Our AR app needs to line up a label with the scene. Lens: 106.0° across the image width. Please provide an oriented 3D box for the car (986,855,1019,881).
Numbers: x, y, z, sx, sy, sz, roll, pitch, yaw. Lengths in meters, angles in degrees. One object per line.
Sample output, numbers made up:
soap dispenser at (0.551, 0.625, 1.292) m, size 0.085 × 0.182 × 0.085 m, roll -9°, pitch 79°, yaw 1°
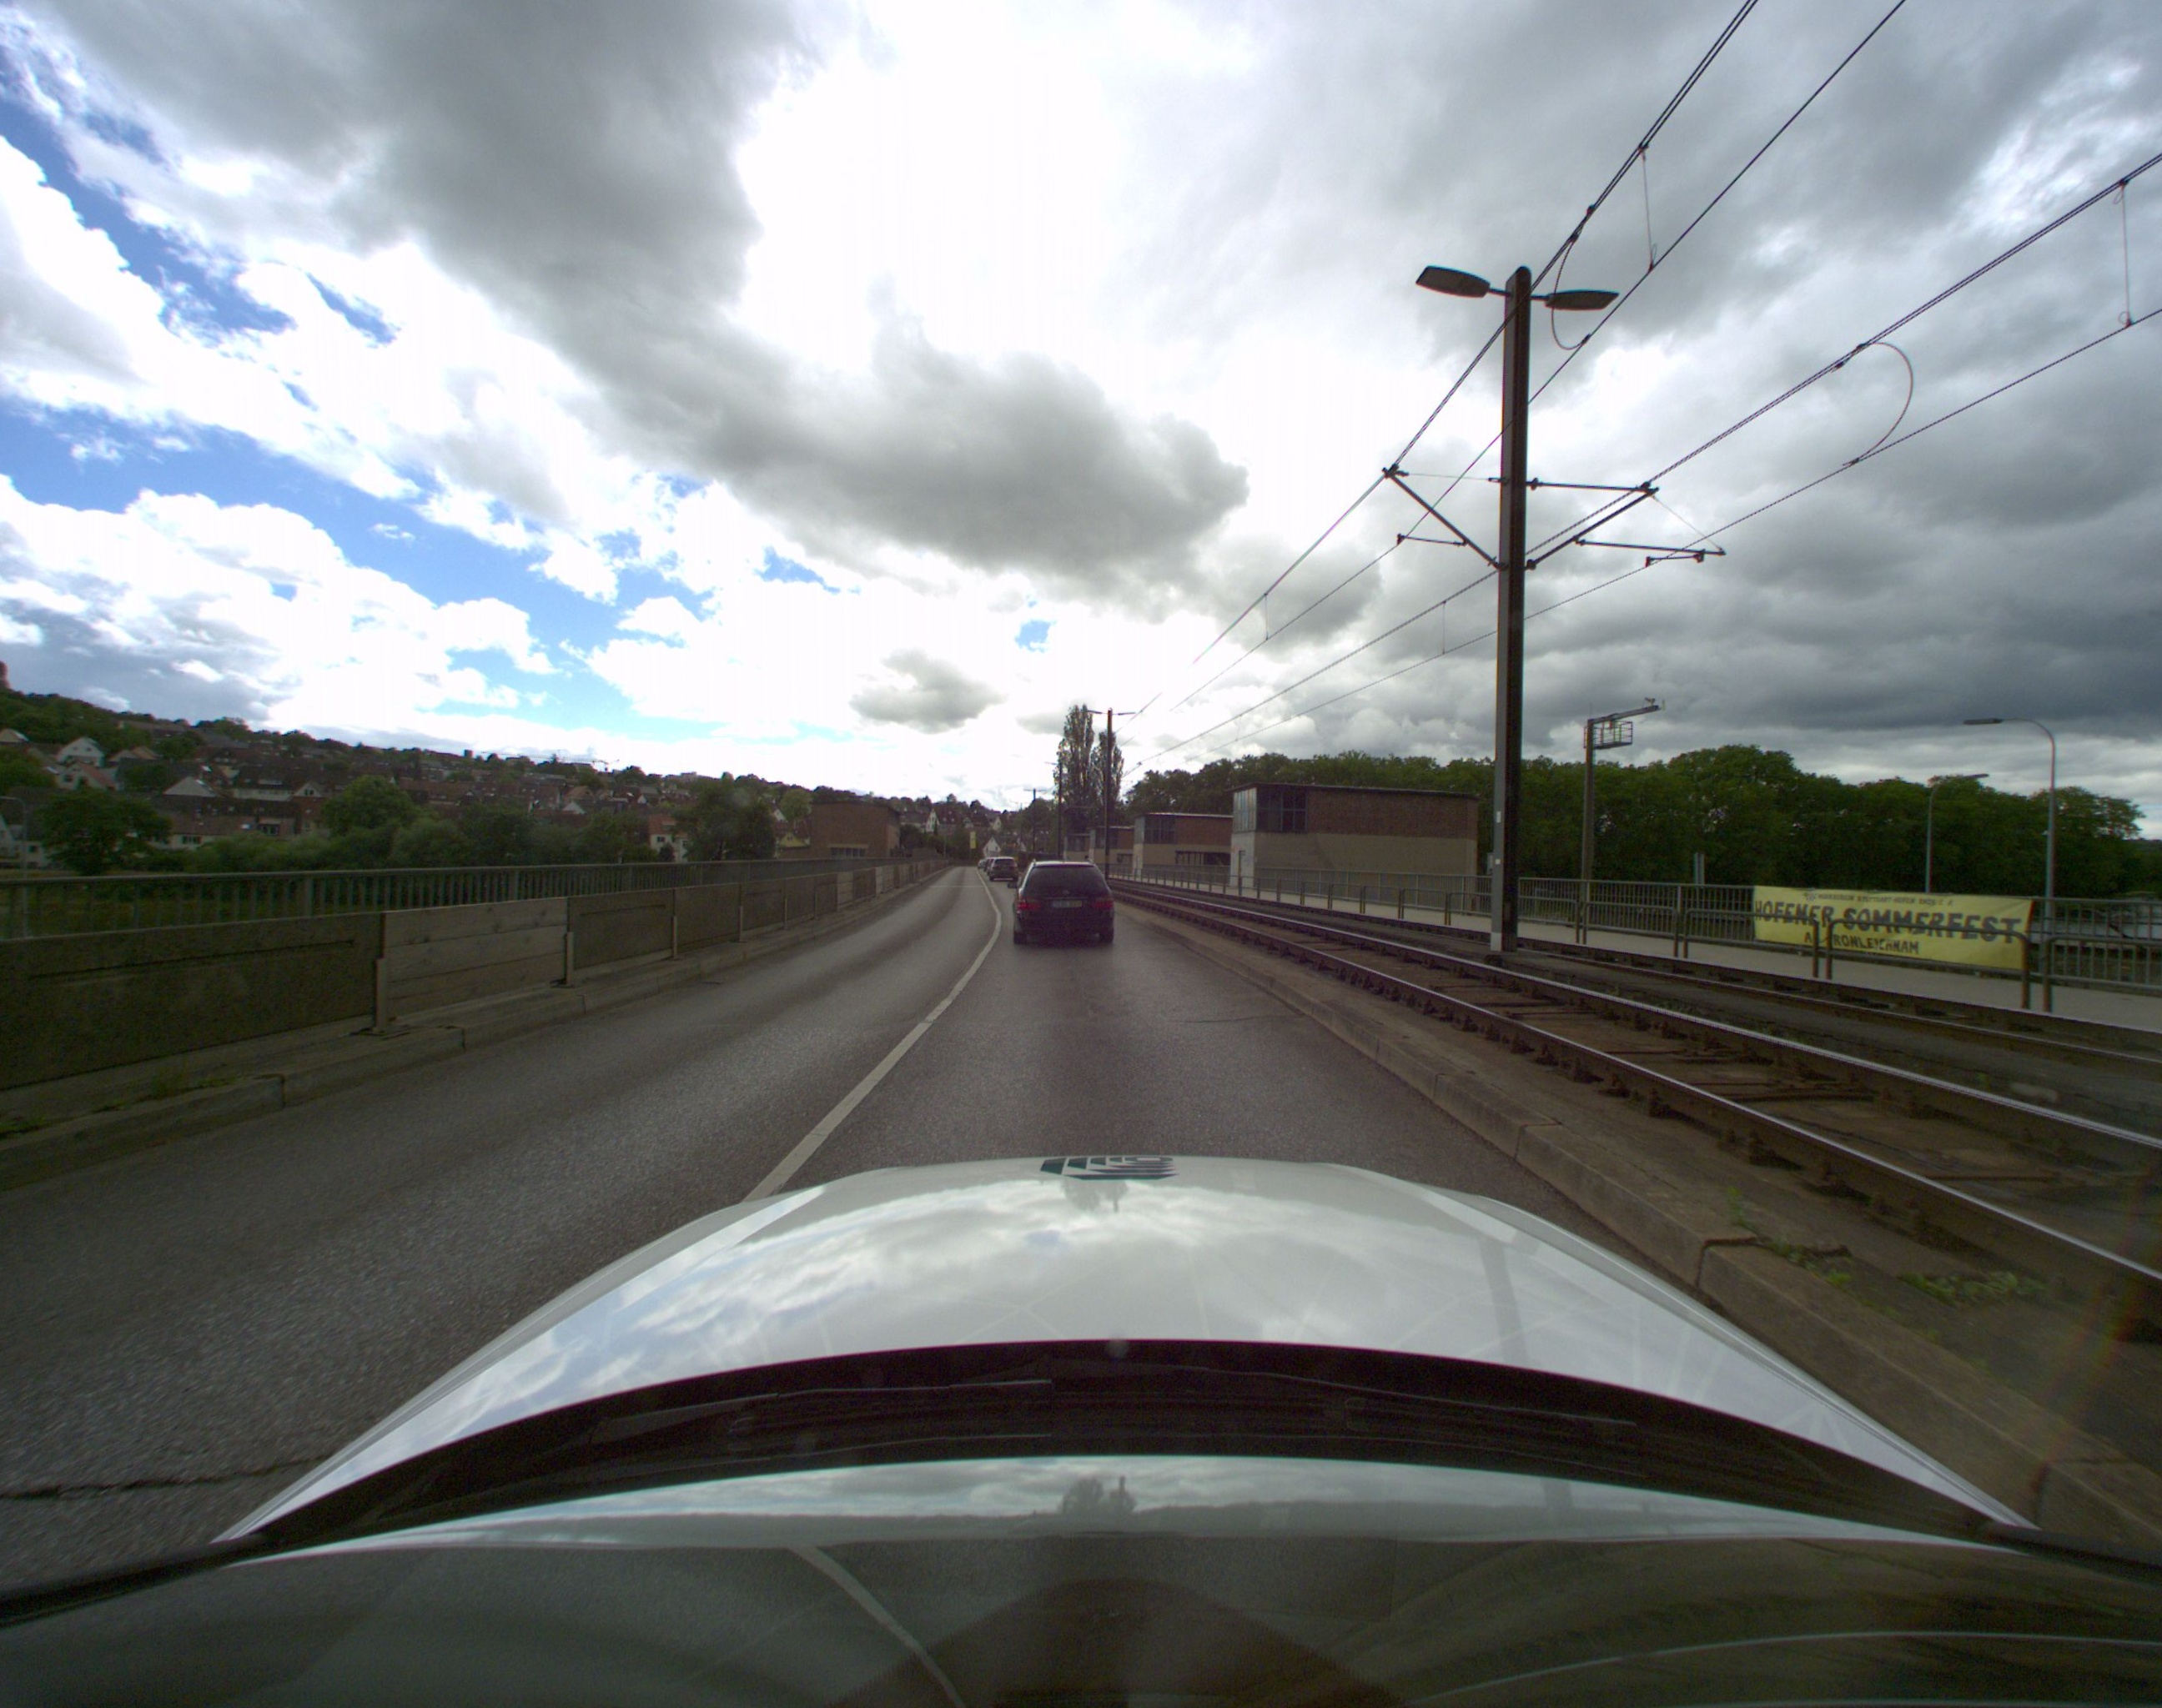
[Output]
car at (-5.076, 0.857, 52.029) m, size 1.770 × 1.555 × 4.226 m, roll 1°, pitch 0°, yaw -10°

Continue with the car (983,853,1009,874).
car at (-7.034, 0.776, 67.243) m, size 1.992 × 1.564 × 4.985 m, roll -1°, pitch 1°, yaw -7°

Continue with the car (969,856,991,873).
car at (-10.275, 1.030, 82.525) m, size 1.993 × 1.672 × 4.527 m, roll -1°, pitch 1°, yaw -9°

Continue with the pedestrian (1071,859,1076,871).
pedestrian at (-1.037, 1.536, 112.936) m, size 0.576 × 1.610 × 0.611 m, roll 1°, pitch -1°, yaw -7°

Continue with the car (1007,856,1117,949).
car at (-0.514, 0.806, 15.691) m, size 1.757 × 1.516 × 4.432 m, roll 0°, pitch 0°, yaw -6°

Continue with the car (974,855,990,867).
car at (-13.508, 0.961, 111.135) m, size 1.993 × 1.571 × 4.891 m, roll 2°, pitch 0°, yaw -9°

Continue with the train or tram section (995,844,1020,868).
train or tram section at (-11.722, 0.371, 128.522) m, size 2.881 × 3.509 × 18.611 m, roll 0°, pitch 0°, yaw -8°
